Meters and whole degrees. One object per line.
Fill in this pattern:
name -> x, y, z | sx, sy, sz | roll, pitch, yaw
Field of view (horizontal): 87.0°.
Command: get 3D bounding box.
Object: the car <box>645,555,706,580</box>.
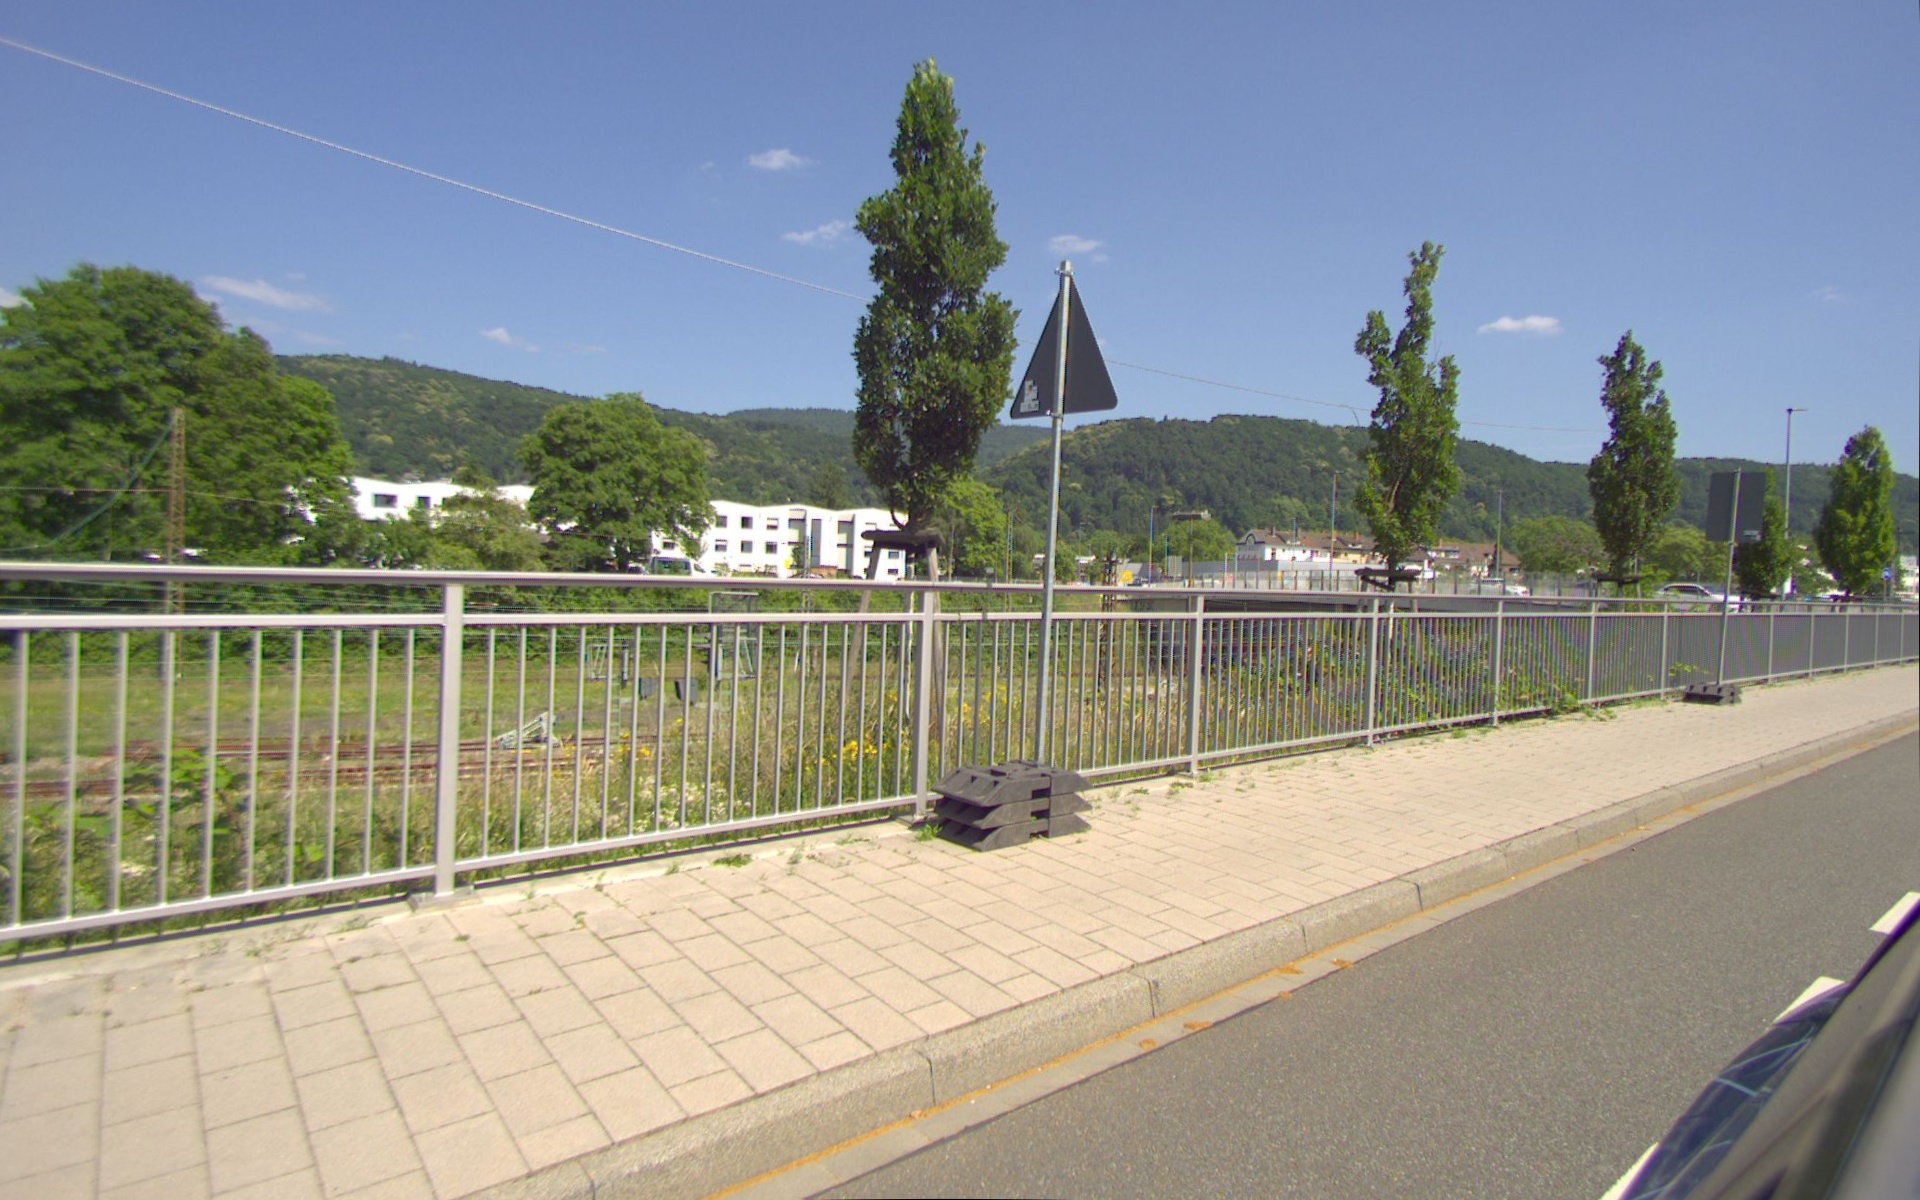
car -> -25.888, -2.958, 92.079 | 4.893, 2.139, 2.002 | 1, 1, -33

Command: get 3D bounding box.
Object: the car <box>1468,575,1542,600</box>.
car -> 38.350, -0.897, 71.329 | 1.700, 1.646, 4.452 | 1, 2, -22

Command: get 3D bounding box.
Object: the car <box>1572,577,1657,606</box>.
car -> 40.784, -0.570, 63.147 | 1.700, 1.646, 4.452 | 2, 1, -13

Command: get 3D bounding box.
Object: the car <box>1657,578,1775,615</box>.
car -> 39.479, -0.238, 53.015 | 1.958, 1.740, 4.644 | 2, 1, -16

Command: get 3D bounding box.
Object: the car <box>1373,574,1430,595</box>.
car -> 35.647, -1.266, 81.821 | 1.700, 1.646, 4.453 | 2, 1, -18
